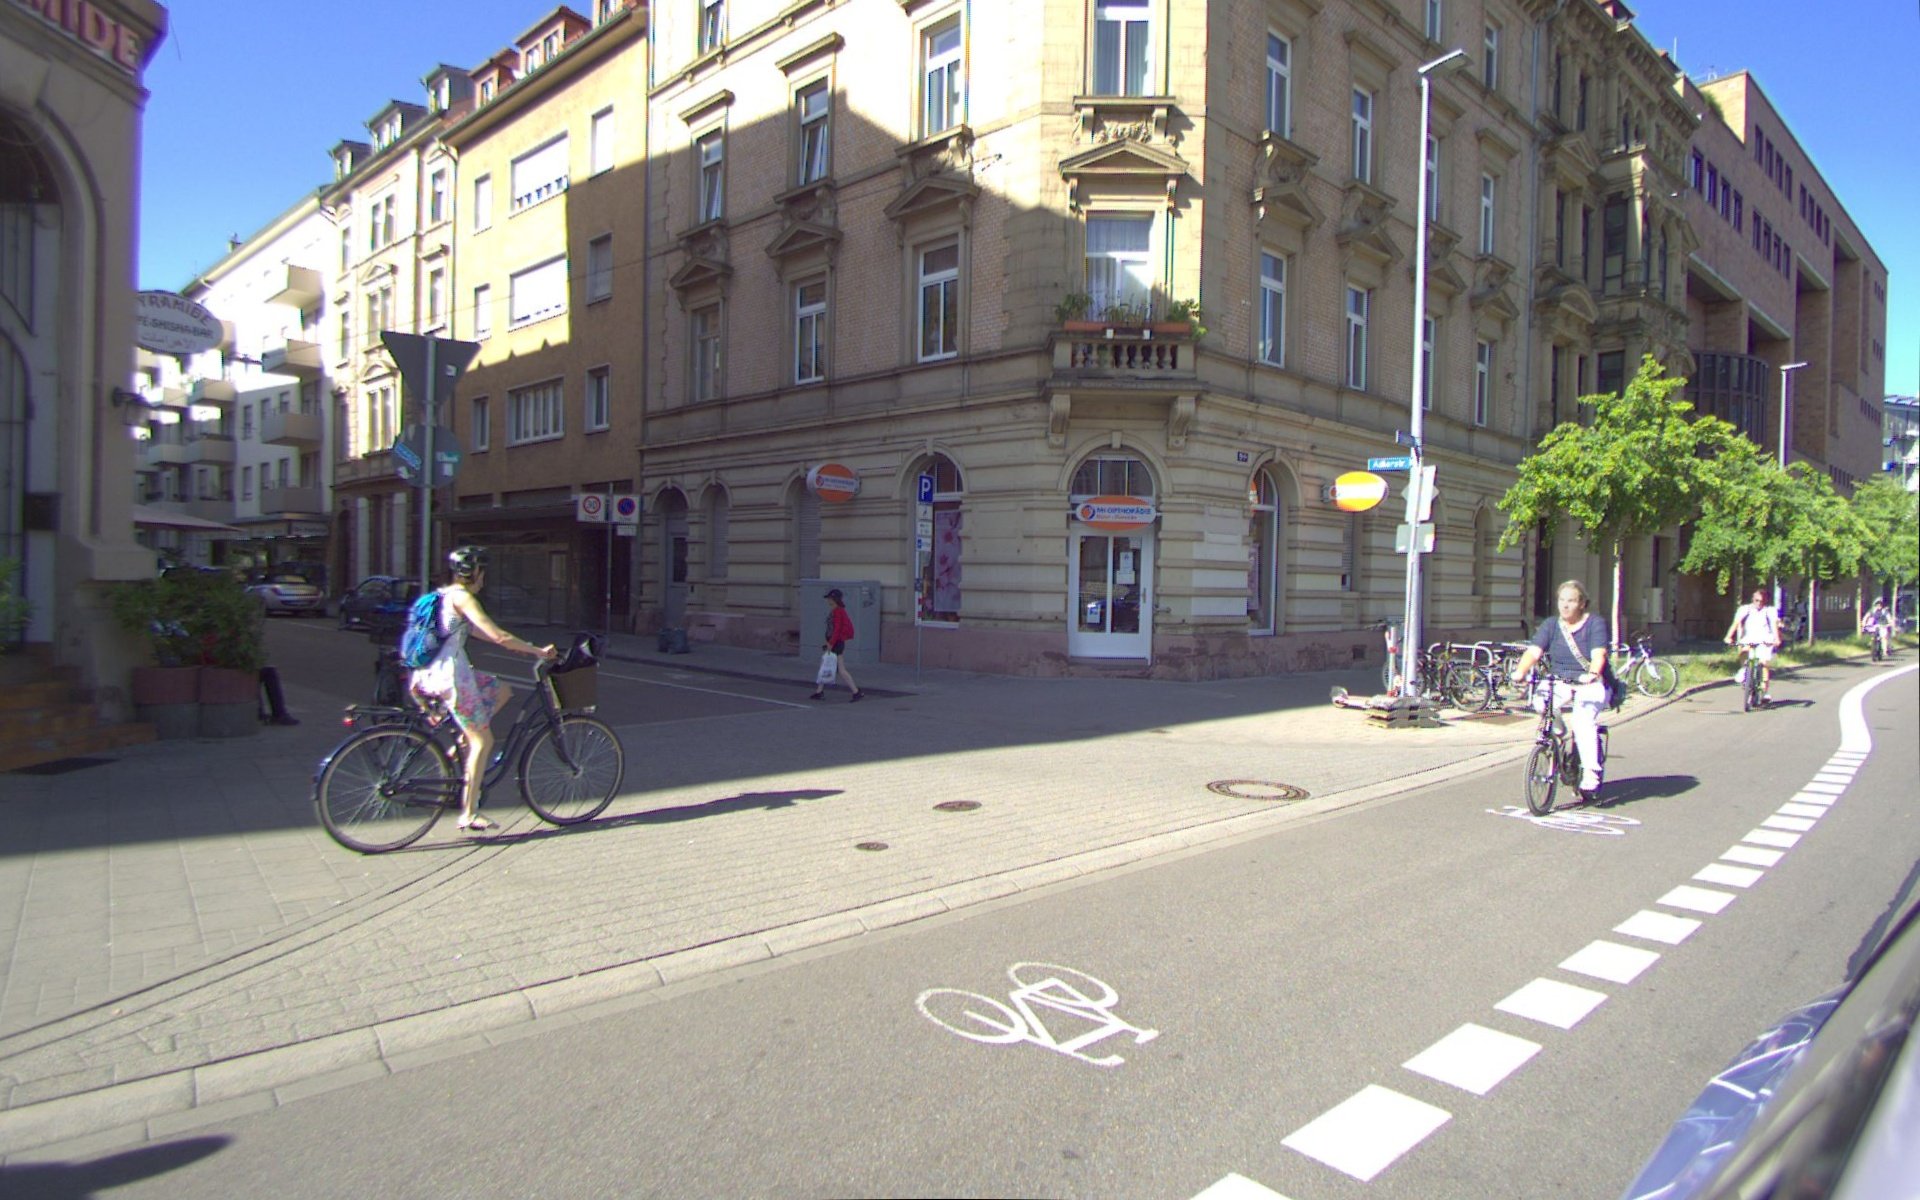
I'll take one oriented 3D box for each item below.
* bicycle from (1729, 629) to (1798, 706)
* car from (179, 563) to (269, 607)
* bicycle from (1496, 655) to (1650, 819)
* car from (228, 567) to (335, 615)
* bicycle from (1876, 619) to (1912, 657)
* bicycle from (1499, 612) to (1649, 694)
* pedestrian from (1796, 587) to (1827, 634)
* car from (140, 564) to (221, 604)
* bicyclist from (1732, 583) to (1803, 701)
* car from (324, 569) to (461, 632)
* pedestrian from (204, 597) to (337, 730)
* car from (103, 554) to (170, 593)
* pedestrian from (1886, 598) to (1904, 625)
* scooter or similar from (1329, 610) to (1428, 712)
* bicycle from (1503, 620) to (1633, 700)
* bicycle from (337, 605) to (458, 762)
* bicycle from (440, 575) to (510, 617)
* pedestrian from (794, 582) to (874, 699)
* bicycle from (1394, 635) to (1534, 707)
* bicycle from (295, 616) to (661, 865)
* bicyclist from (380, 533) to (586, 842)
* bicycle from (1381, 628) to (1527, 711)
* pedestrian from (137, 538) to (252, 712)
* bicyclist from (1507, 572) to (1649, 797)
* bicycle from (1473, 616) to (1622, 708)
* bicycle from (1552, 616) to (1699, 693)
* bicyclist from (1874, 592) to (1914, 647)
[{"bbox_3d":[12.453,1.018,15.675,1.481,1.110,0.577,0,-1,-41],"label":"bicycle"},{"bbox_3d":[-26.031,-0.543,35.766,3.757,1.450,1.776,2,1,40],"label":"car"},{"bbox_3d":[4.590,0.965,7.540,1.481,1.040,0.558,0,-1,-41],"label":"bicycle"},{"bbox_3d":[-21.390,-0.286,31.857,3.983,1.351,1.775,2,-1,40],"label":"car"},{"bbox_3d":[28.536,1.157,30.920,1.480,1.110,0.578,0,-1,-38],"label":"bicycle"},{"bbox_3d":[10.288,0.858,17.026,0.697,1.142,2.001,1,3,-39],"label":"bicycle"},{"bbox_3d":[35.242,0.408,41.893,1.087,1.906,0.789,0,1,-41],"label":"pedestrian"},{"bbox_3d":[-30.106,-0.644,39.055,3.757,1.450,1.776,2,1,40],"label":"car"},{"bbox_3d":[12.446,0.626,15.598,0.893,1.751,0.684,1,-1,-41],"label":"bicyclist"},{"bbox_3d":[-14.603,0.001,25.967,3.983,1.438,1.775,2,-1,40],"label":"car"},{"bbox_3d":[-6.817,0.584,10.006,0.849,1.229,0.920,0,0,43],"label":"pedestrian"},{"bbox_3d":[-37.553,-1.221,46.114,3.758,1.686,1.775,2,1,42],"label":"car"},{"bbox_3d":[52.393,0.653,56.688,0.723,1.505,0.633,0,1,-41],"label":"pedestrian"},{"bbox_3d":[5.384,0.762,13.062,0.411,1.204,1.115,1,1,-33],"label":"scooter or similar"},{"bbox_3d":[9.530,0.918,15.921,0.595,1.058,1.605,1,3,-37],"label":"bicycle"},{"bbox_3d":[-5.022,0.687,8.975,0.641,1.186,1.823,5,-1,-36],"label":"bicycle"},{"bbox_3d":[-14.306,-0.132,29.848,1.988,1.193,0.629,1,1,19],"label":"bicycle"},{"bbox_3d":[-1.734,0.539,14.041,0.912,1.561,0.709,1,1,12],"label":"pedestrian"},{"bbox_3d":[7.054,0.966,14.239,0.595,0.831,1.677,1,2,-33],"label":"bicycle"},{"bbox_3d":[-2.792,0.730,6.015,1.867,1.238,0.584,0,1,-42],"label":"bicycle"},{"bbox_3d":[-2.825,0.465,6.002,0.944,1.660,0.667,1,1,-41],"label":"bicyclist"},{"bbox_3d":[6.650,0.905,13.703,0.595,0.955,1.677,1,1,-33],"label":"bicycle"},{"bbox_3d":[-8.344,0.255,11.030,0.906,1.783,0.854,0,0,43],"label":"pedestrian"},{"bbox_3d":[4.621,0.589,7.565,0.893,1.557,0.658,1,-1,-41],"label":"bicyclist"},{"bbox_3d":[8.523,0.866,14.745,0.595,1.114,1.729,1,3,-37],"label":"bicycle"},{"bbox_3d":[11.513,0.909,17.551,1.993,1.106,0.835,5,3,40],"label":"bicycle"},{"bbox_3d":[28.540,0.588,30.917,0.748,1.637,0.755,0,-1,-38],"label":"bicyclist"}]
